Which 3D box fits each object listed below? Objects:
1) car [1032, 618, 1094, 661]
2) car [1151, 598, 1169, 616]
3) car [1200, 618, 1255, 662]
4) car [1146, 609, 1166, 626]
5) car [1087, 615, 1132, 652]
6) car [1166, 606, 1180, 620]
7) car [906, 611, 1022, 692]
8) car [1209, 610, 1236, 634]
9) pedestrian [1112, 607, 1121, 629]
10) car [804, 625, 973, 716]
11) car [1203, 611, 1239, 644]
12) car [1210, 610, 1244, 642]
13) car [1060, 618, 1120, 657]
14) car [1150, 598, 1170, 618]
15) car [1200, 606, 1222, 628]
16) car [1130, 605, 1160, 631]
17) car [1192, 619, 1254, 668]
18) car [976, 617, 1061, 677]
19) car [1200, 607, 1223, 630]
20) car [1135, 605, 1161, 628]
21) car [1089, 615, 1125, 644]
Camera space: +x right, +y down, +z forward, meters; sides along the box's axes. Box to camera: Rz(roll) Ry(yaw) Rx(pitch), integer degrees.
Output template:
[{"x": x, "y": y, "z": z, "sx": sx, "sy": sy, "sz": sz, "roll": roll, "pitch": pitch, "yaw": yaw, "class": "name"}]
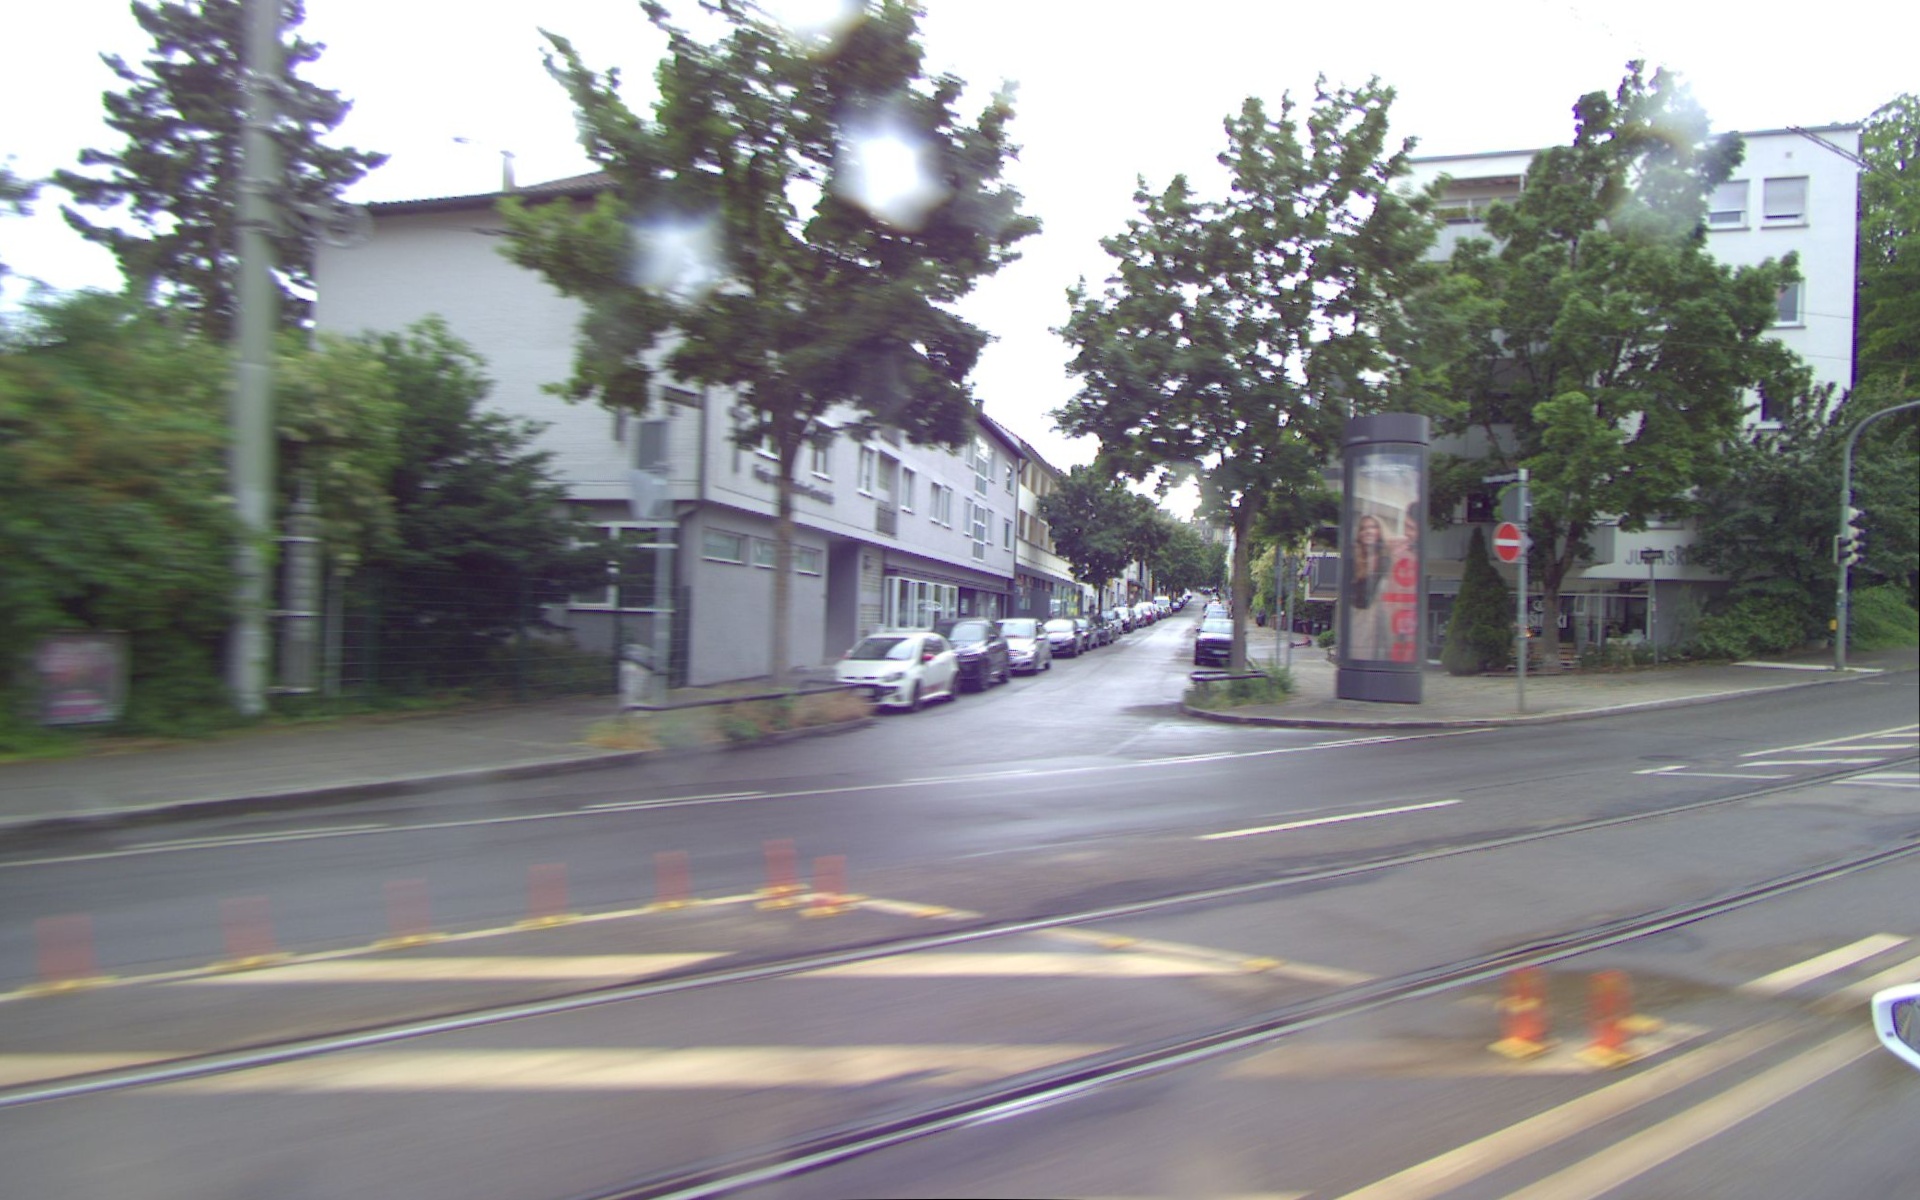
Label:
[{"x": 4.098, "y": 1.501, "z": 39.421, "sx": 1.805, "sy": 1.513, "sz": 4.204, "roll": 2, "pitch": -1, "yaw": 13, "class": "car"}, {"x": 24.255, "y": 0.894, "z": 121.708, "sx": 1.960, "sy": 2.040, "sz": 4.002, "roll": 3, "pitch": 0, "yaw": 13, "class": "car"}, {"x": 11.054, "y": 1.626, "z": 41.766, "sx": 1.960, "sy": 1.617, "sz": 4.676, "roll": 3, "pitch": 0, "yaw": 13, "class": "car"}, {"x": 20.416, "y": 1.803, "z": 104.463, "sx": 1.805, "sy": 1.664, "sz": 4.204, "roll": 2, "pitch": -1, "yaw": 13, "class": "car"}, {"x": 7.569, "y": 1.656, "z": 50.601, "sx": 1.805, "sy": 1.664, "sz": 4.204, "roll": 2, "pitch": -1, "yaw": 13, "class": "car"}, {"x": 34.479, "y": 2.146, "z": 162.372, "sx": 1.960, "sy": 2.040, "sz": 4.002, "roll": 3, "pitch": 0, "yaw": 13, "class": "car"}, {"x": 0.223, "y": 1.201, "z": 25.004, "sx": 1.805, "sy": 1.728, "sz": 4.643, "roll": 2, "pitch": -1, "yaw": 13, "class": "car"}, {"x": 21.611, "y": 1.805, "z": 82.944, "sx": 1.960, "sy": 1.840, "sz": 4.002, "roll": 3, "pitch": 0, "yaw": 13, "class": "car"}, {"x": 14.571, "y": 1.699, "z": 93.614, "sx": 0.725, "sy": 2.040, "sz": 0.742, "roll": 3, "pitch": 0, "yaw": 13, "class": "pedestrian"}, {"x": -1.258, "y": 1.278, "z": 19.703, "sx": 1.960, "sy": 1.500, "sz": 4.162, "roll": 1, "pitch": -1, "yaw": 16, "class": "car"}, {"x": 16.285, "y": 1.695, "z": 62.834, "sx": 1.960, "sy": 1.884, "sz": 4.002, "roll": 3, "pitch": 0, "yaw": 13, "class": "car"}, {"x": 18.024, "y": 1.753, "z": 67.943, "sx": 1.960, "sy": 2.040, "sz": 4.002, "roll": 3, "pitch": 0, "yaw": 13, "class": "car"}, {"x": 5.890, "y": 1.667, "z": 45.147, "sx": 1.855, "sy": 1.550, "sz": 4.001, "roll": 3, "pitch": 0, "yaw": 18, "class": "car"}, {"x": 22.216, "y": 0.936, "z": 111.469, "sx": 1.960, "sy": 2.040, "sz": 4.002, "roll": 3, "pitch": 0, "yaw": 13, "class": "car"}, {"x": 25.323, "y": 1.710, "z": 101.341, "sx": 1.960, "sy": 2.040, "sz": 4.002, "roll": 3, "pitch": 0, "yaw": 13, "class": "car"}, {"x": 13.996, "y": 1.360, "z": 75.686, "sx": 1.960, "sy": 1.743, "sz": 4.002, "roll": 3, "pitch": 0, "yaw": 13, "class": "car"}, {"x": 9.369, "y": 1.510, "z": 36.051, "sx": 1.960, "sy": 1.538, "sz": 4.002, "roll": 3, "pitch": 0, "yaw": 13, "class": "car"}, {"x": 1.855, "y": 1.365, "z": 30.453, "sx": 1.805, "sy": 1.600, "sz": 4.176, "roll": 2, "pitch": -1, "yaw": 13, "class": "car"}, {"x": 23.163, "y": 1.701, "z": 92.604, "sx": 1.960, "sy": 2.040, "sz": 4.002, "roll": 3, "pitch": 0, "yaw": 13, "class": "car"}, {"x": 15.194, "y": 1.338, "z": 81.064, "sx": 1.805, "sy": 1.664, "sz": 4.204, "roll": 2, "pitch": -1, "yaw": 13, "class": "car"}, {"x": 9.186, "y": 1.838, "z": 62.708, "sx": 1.805, "sy": 1.664, "sz": 4.204, "roll": 2, "pitch": -1, "yaw": 13, "class": "car"}]
